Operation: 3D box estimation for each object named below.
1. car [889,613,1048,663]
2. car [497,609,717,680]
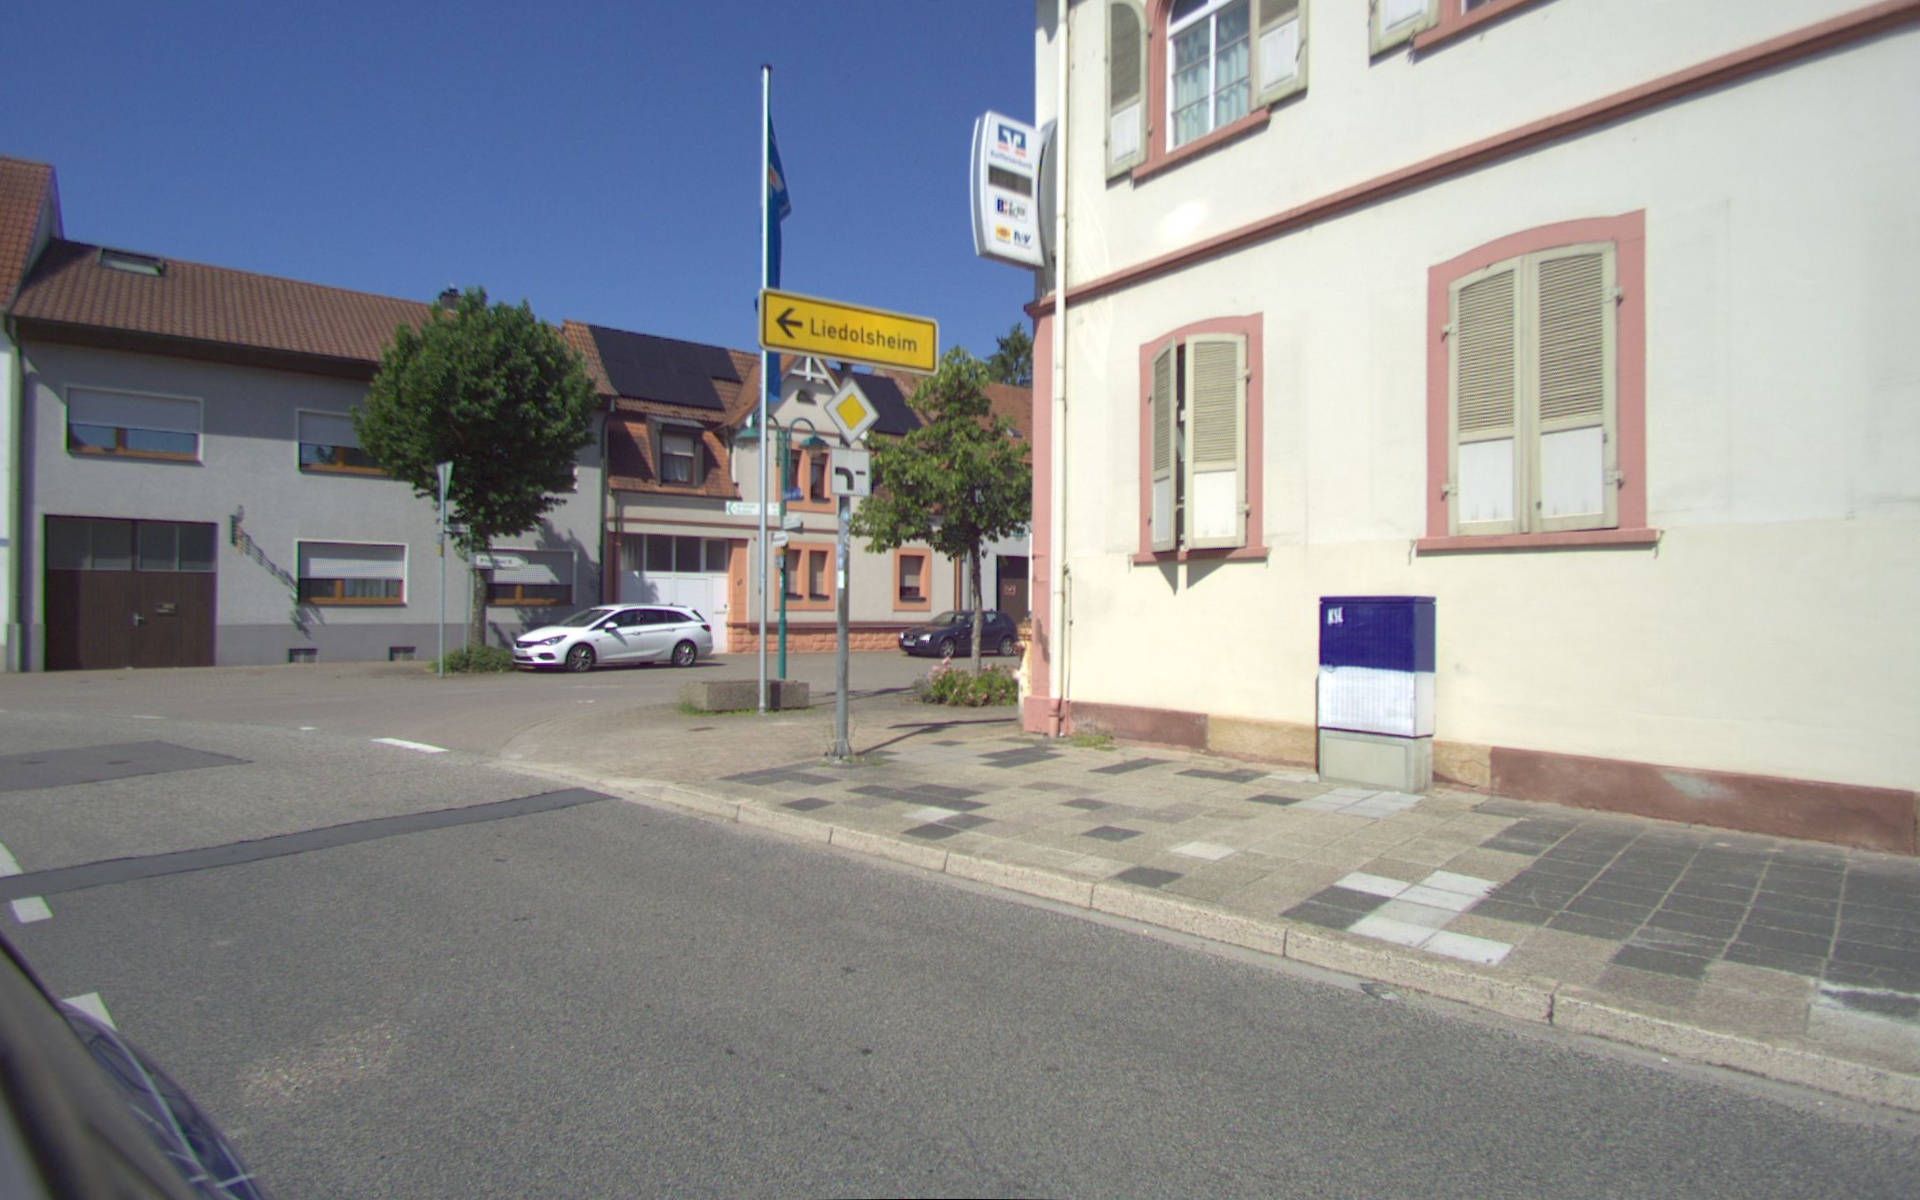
[{"bbox_3d":[0.347,1.130,31.748,1.992,1.451,5.135,-1,-1,45],"label":"car"},{"bbox_3d":[-7.961,0.942,23.148,1.854,1.451,4.453,-1,-1,40],"label":"car"}]
